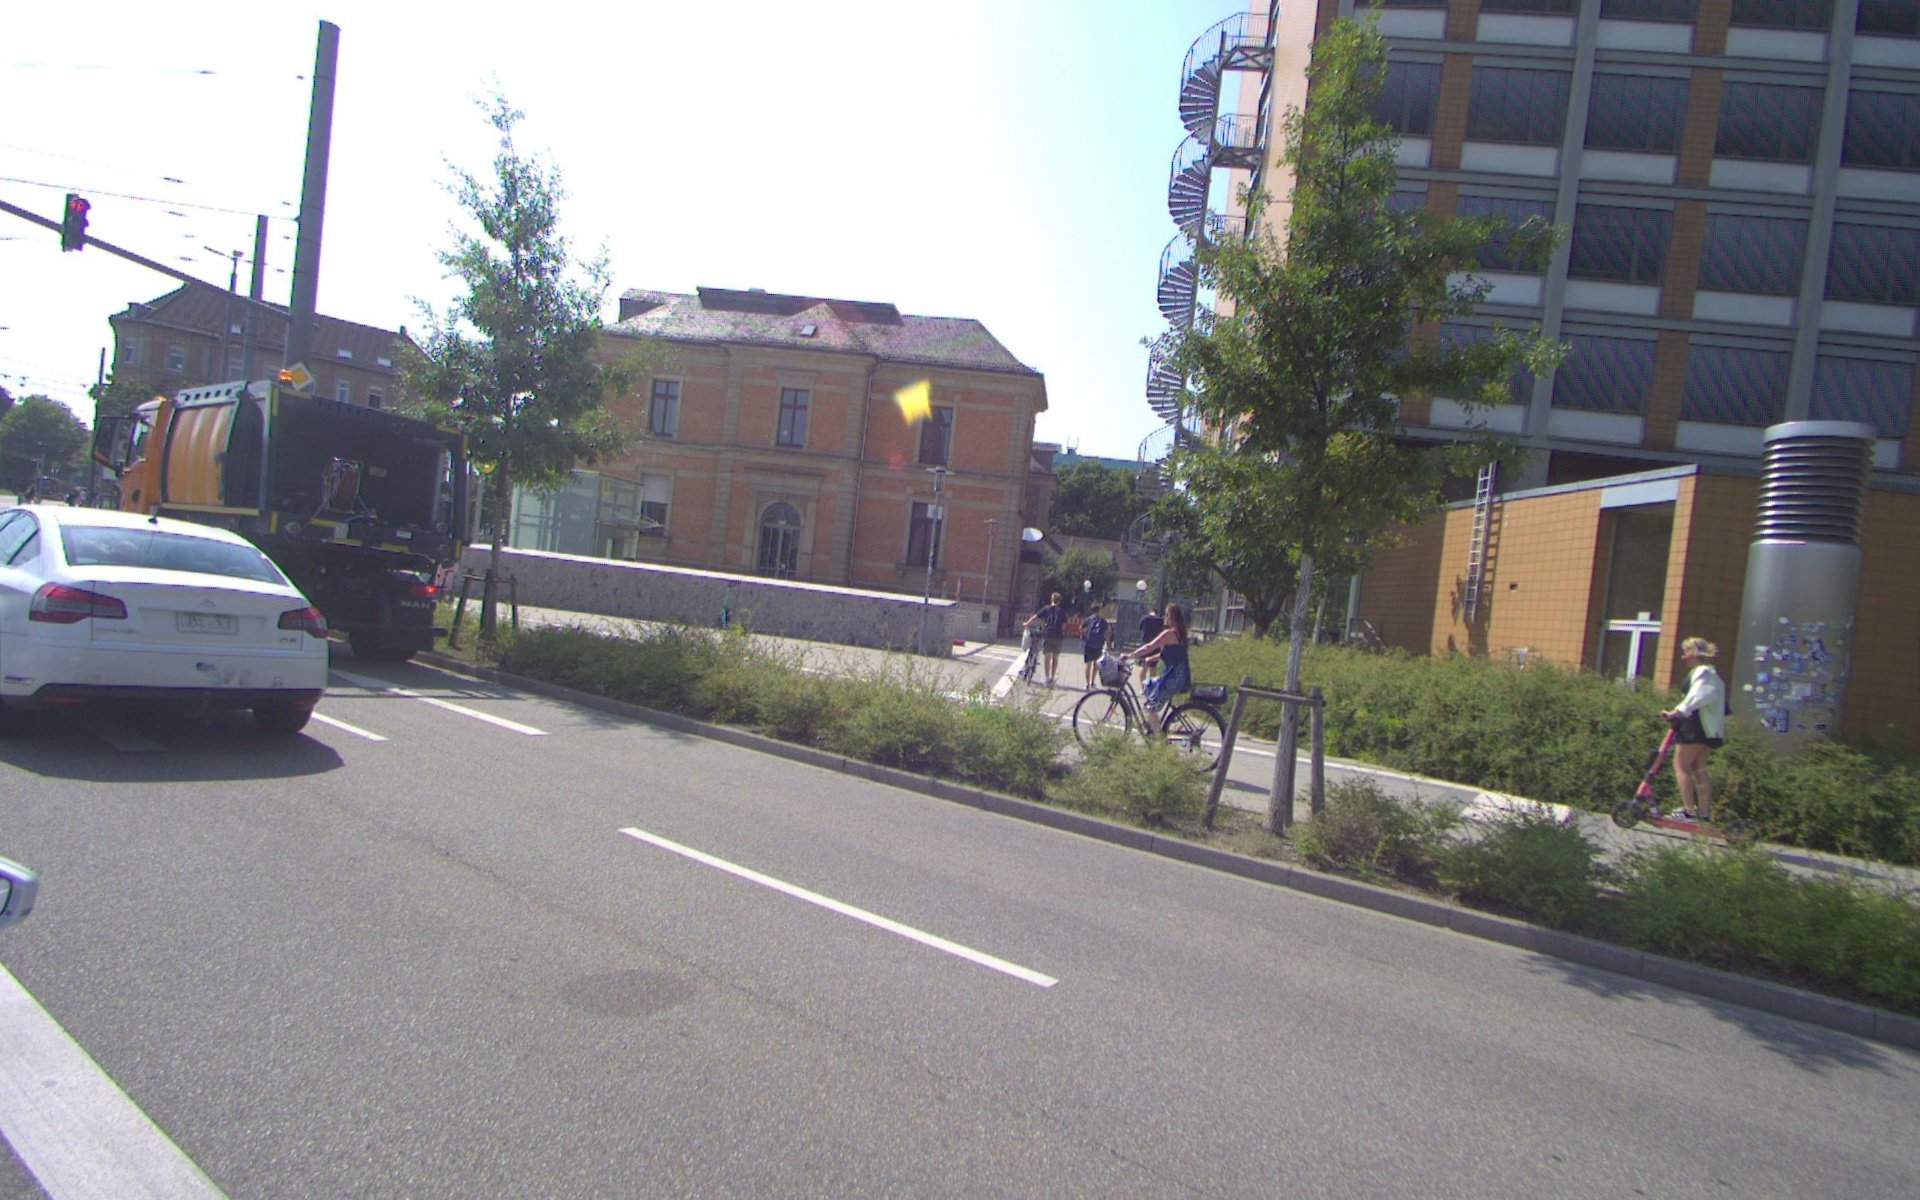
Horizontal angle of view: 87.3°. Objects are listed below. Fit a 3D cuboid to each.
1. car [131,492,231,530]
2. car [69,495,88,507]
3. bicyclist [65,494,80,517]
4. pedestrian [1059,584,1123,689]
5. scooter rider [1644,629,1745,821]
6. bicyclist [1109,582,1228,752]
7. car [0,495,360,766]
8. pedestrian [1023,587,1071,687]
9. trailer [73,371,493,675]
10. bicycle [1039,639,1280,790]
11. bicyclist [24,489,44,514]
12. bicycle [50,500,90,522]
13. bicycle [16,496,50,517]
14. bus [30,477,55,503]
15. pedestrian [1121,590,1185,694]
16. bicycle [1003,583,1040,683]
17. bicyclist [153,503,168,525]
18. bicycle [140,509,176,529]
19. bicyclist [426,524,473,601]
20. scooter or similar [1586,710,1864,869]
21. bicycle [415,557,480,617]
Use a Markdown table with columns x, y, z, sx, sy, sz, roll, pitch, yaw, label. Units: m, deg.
| x | y | z | sx | sy | sz | roll | pitch | yaw | label |
| --- | --- | --- | --- | --- | --- | --- | --- | --- | --- |
| -42.676 | -4.869 | 55.183 | 1.703 | 1.437 | 3.904 | 7 | 0 | 25 | car |
| -138.371 | -15.536 | 157.934 | 1.987 | 1.502 | 3.951 | 6 | 0 | -43 | car |
| -49.619 | -5.303 | 56.221 | 0.500 | 1.203 | 0.502 | 6 | 1 | -38 | bicyclist |
| 2.623 | 0.738 | 20.180 | 0.774 | 1.998 | 0.745 | 5 | 2 | -40 | pedestrian |
| 7.074 | 1.185 | 9.688 | 0.532 | 1.721 | 0.669 | 8 | 2 | 43 | scooter rider |
| 2.162 | 0.670 | 10.454 | 0.832 | 1.621 | 0.688 | 8 | 4 | 41 | bicyclist |
| -6.477 | 0.056 | 7.565 | 4.358 | 1.473 | 1.758 | 7 | 0 | 37 | car |
| 1.748 | 0.731 | 20.260 | 0.650 | 1.883 | 0.793 | 8 | 1 | 1 | pedestrian |
| -9.078 | -1.007 | 13.216 | 6.229 | 3.043 | 2.463 | 7 | -1 | 37 | trailer |
| 2.034 | 1.130 | 10.553 | 2.337 | 1.170 | 0.692 | 7 | 3 | 40 | bicycle |
| -52.277 | -5.560 | 56.784 | 0.498 | 1.263 | 0.595 | 6 | 1 | -7 | bicyclist |
| -49.687 | -4.951 | 56.200 | 1.583 | 0.997 | 0.502 | 7 | 1 | -38 | bicycle |
| -52.304 | -5.263 | 56.766 | 0.498 | 0.997 | 1.594 | 6 | 0 | -6 | bicycle |
| -140.700 | -16.833 | 154.343 | 2.552 | 3.550 | 7.708 | 6 | 1 | -42 | bus |
| 3.921 | 0.862 | 20.451 | 0.774 | 1.998 | 0.745 | 5 | 2 | -40 | pedestrian |
| 1.209 | 0.633 | 20.082 | 0.448 | 1.884 | 1.362 | 6 | 1 | 0 | bicycle |
| -48.899 | -5.262 | 61.501 | 0.590 | 1.263 | 0.502 | 6 | 1 | -34 | bicyclist |
| -48.991 | -4.929 | 61.464 | 1.581 | 0.997 | 0.502 | 7 | 1 | -35 | bicycle |
| -10.781 | -0.793 | 21.225 | 0.793 | 1.515 | 0.547 | 7 | 2 | 45 | bicyclist |
| 7.207 | 1.732 | 9.567 | 1.977 | 1.073 | 0.555 | 6 | 1 | 44 | scooter or similar |
| -10.850 | -0.292 | 21.261 | 1.978 | 1.073 | 0.555 | 7 | 1 | 45 | bicycle |
